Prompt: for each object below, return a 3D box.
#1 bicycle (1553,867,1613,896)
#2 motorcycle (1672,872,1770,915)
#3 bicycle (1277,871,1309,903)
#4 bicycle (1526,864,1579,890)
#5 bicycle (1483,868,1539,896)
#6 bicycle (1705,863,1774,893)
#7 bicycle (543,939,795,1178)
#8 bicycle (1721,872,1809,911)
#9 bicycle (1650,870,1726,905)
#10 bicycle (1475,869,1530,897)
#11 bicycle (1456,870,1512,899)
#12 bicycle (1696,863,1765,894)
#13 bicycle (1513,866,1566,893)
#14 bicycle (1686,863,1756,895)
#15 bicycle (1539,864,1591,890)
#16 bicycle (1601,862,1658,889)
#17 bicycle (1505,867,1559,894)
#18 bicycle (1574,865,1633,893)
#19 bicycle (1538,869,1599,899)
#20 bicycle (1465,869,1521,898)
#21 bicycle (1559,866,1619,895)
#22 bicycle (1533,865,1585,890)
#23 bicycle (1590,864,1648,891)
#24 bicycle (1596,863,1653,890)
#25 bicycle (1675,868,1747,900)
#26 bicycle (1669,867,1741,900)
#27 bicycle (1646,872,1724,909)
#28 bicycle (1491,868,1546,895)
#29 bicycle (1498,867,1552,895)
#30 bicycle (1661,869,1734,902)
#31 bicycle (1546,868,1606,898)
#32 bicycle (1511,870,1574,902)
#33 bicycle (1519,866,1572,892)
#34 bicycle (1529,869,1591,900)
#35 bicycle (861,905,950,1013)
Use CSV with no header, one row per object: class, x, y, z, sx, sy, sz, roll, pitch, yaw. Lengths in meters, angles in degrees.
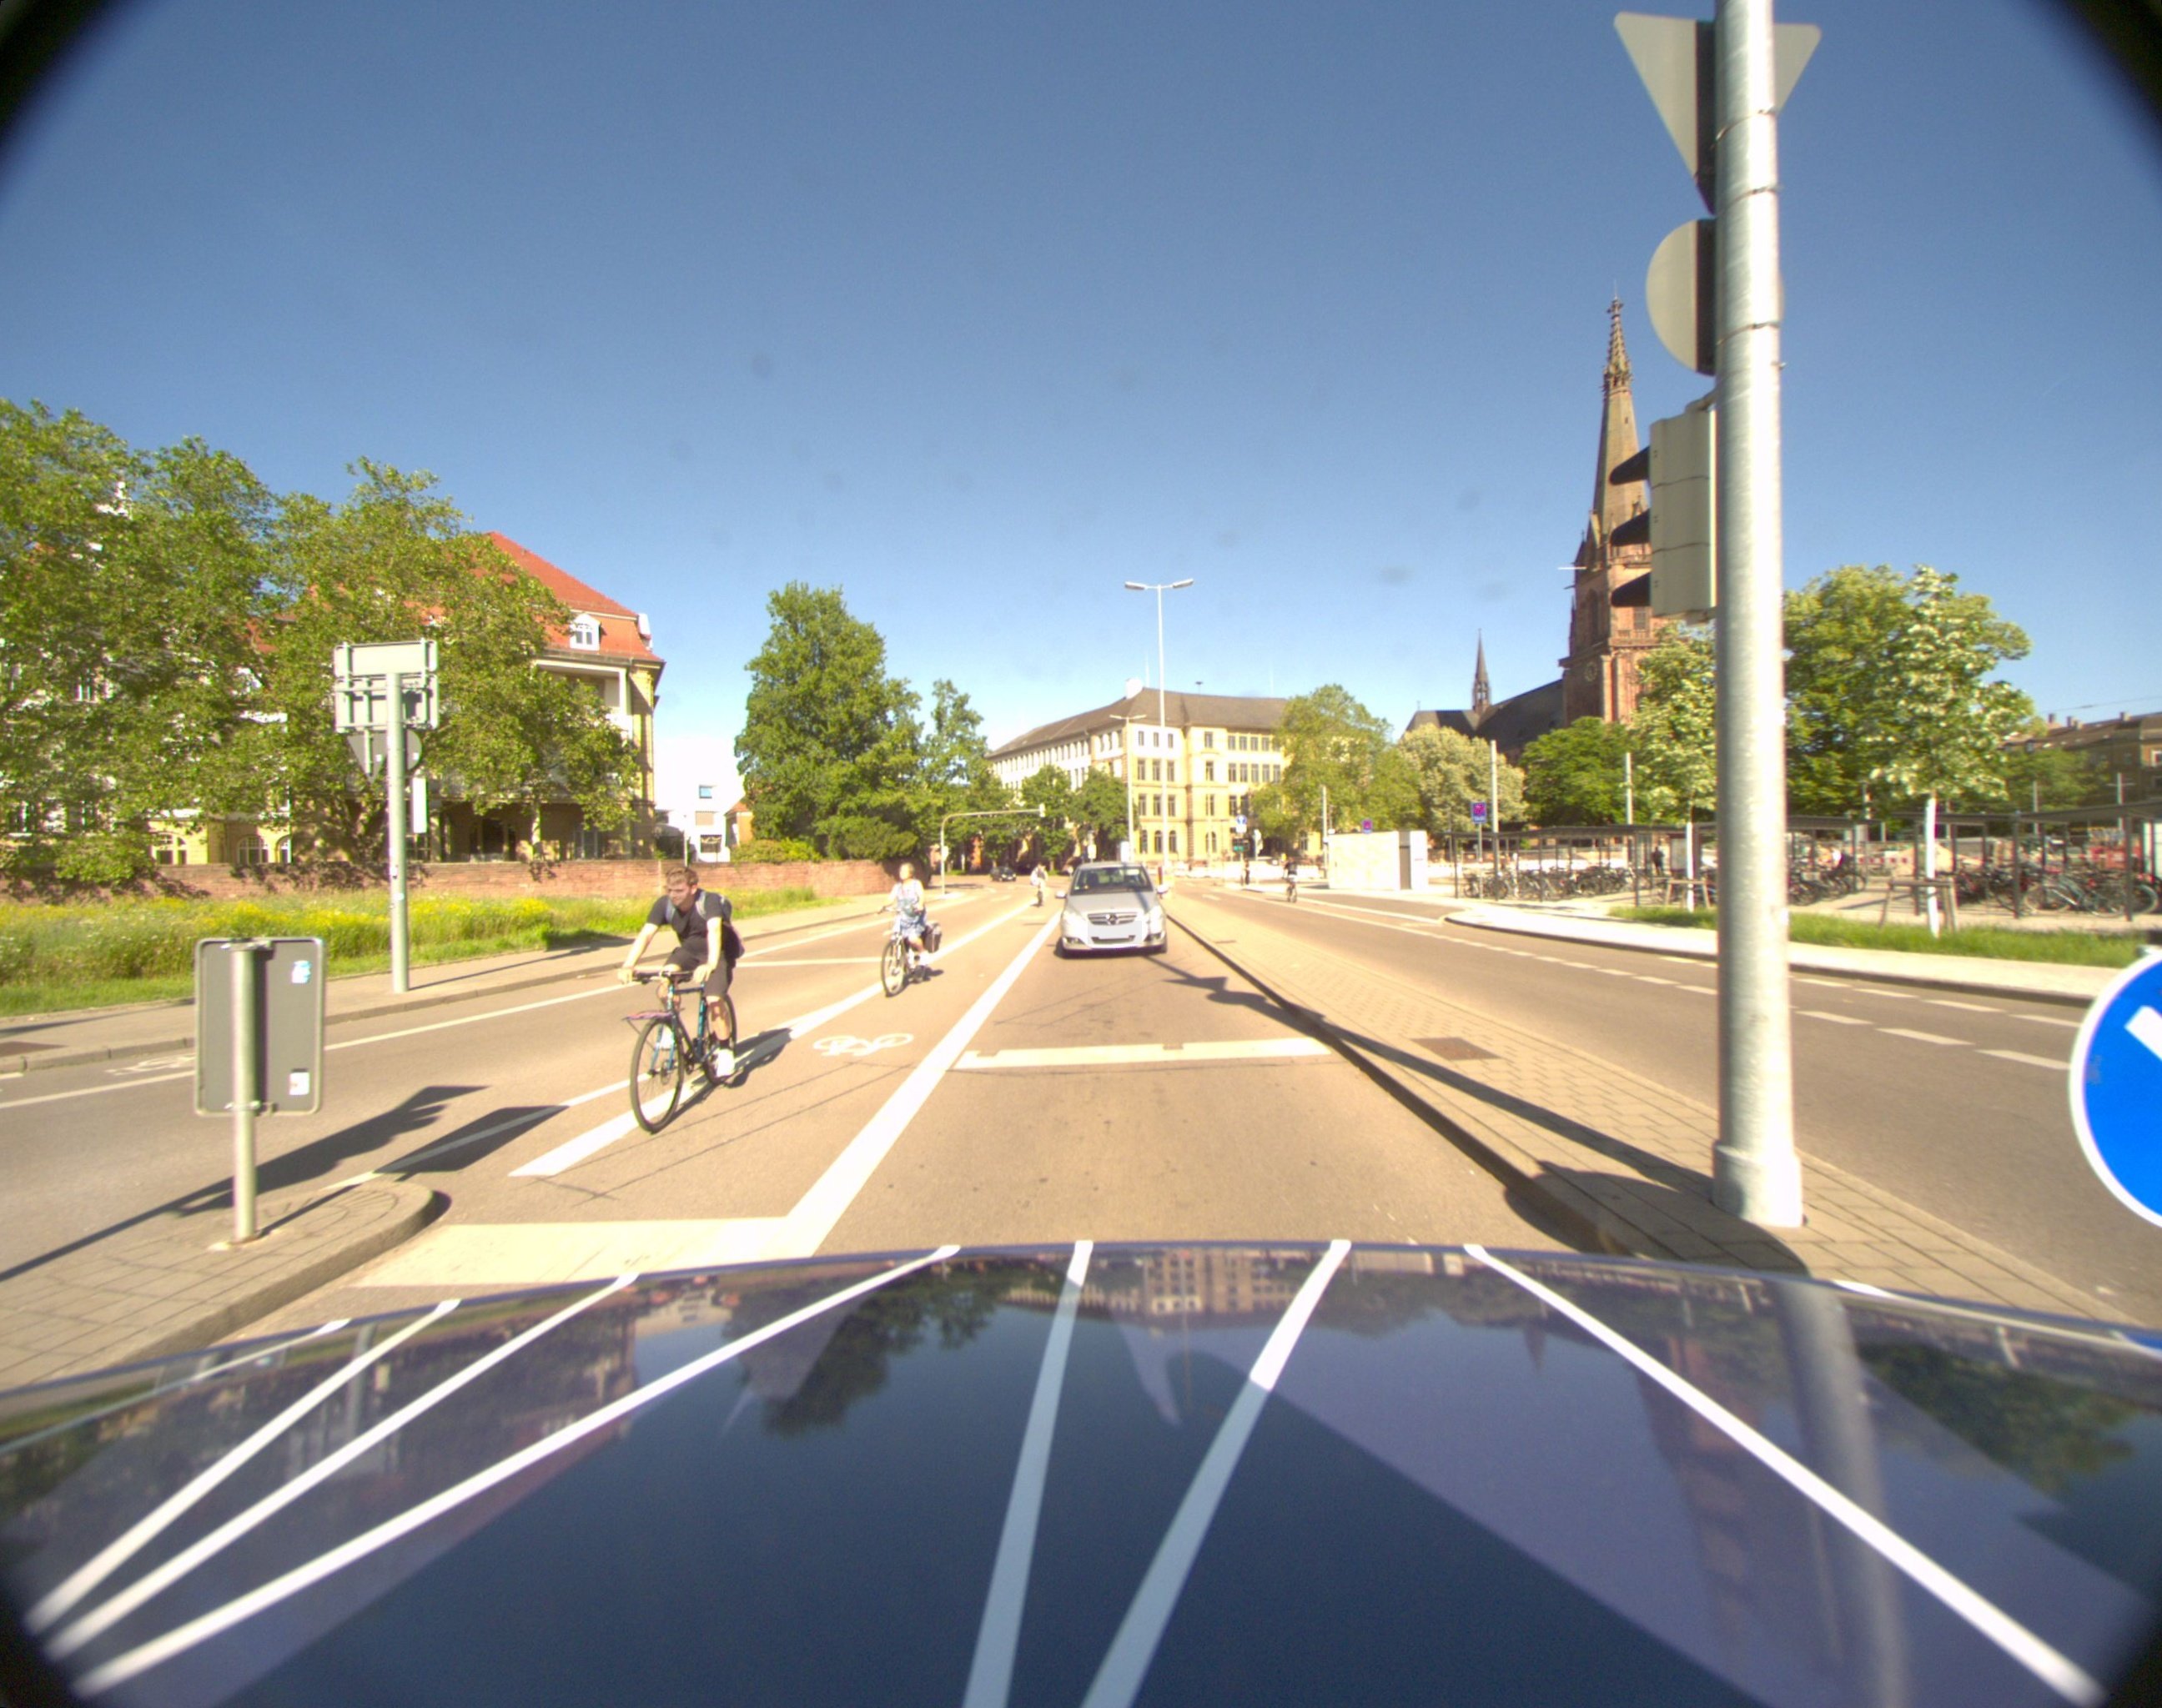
bicycle,18.611,0.992,28.219,0.569,1.032,1.783,0,0,-36
motorcycle,17.773,1.067,21.163,0.596,1.112,1.980,-2,0,-32
bicycle,8.022,1.243,28.861,0.747,1.158,1.870,0,0,2
bicycle,19.562,0.941,31.566,0.569,1.032,1.783,0,0,-36
bicycle,16.577,1.065,29.315,0.569,1.032,1.783,0,0,-36
bicycle,23.527,0.848,27.180,0.569,1.032,1.783,0,0,-36
bicycle,-2.704,1.272,5.273,0.642,1.158,1.871,-3,-1,1
bicycle,19.460,1.037,21.642,0.569,1.032,1.783,0,0,-36
bicycle,19.165,1.032,24.023,0.569,1.032,1.783,0,0,-36
bicycle,16.017,1.085,28.911,0.569,1.032,1.783,0,0,-36
bicycle,14.876,1.116,28.080,0.569,1.032,1.783,0,0,-36
bicycle,22.893,0.857,26.809,0.569,1.032,1.783,0,0,-36
bicycle,18.595,1.027,30.854,0.569,1.032,1.783,0,0,-36
bicycle,22.155,0.851,26.333,0.569,1.032,1.783,0,0,-36
bicycle,20.540,0.954,32.261,0.569,1.032,1.783,0,0,-36
bicycle,22.221,0.848,30.807,0.569,1.032,1.783,0,0,-36
bicycle,18.063,1.044,30.450,0.569,1.032,1.783,0,0,-36
bicycle,20.122,0.952,29.284,0.569,1.032,1.783,0,0,-36
bicycle,17.622,1.077,27.506,0.569,1.032,1.783,0,0,-36
bicycle,15.407,1.099,28.462,0.569,1.032,1.783,0,0,-36
bicycle,19.099,0.975,28.574,0.569,1.032,1.783,0,0,-36
bicycle,20.053,0.971,31.904,0.569,1.032,1.783,0,0,-36
bicycle,21.231,0.915,30.027,0.569,1.032,1.783,0,0,-36
bicycle,21.735,0.879,30.403,0.569,1.032,1.783,0,0,-36
bicycle,21.210,0.991,25.601,0.569,1.032,1.783,0,0,-36
bicycle,20.705,0.971,25.244,0.569,1.032,1.783,0,0,-36
bicycle,18.364,1.091,23.134,0.569,1.032,1.783,0,0,-36
bicycle,17.081,1.057,29.700,0.569,1.032,1.783,0,0,-36
bicycle,17.565,1.060,30.083,0.569,1.032,1.783,0,0,-36
bicycle,20.148,1.017,24.860,0.569,1.032,1.783,0,0,-36
bicycle,18.121,1.042,27.846,0.569,1.032,1.783,0,0,-36
bicycle,16.039,1.099,26.434,0.569,1.032,1.783,0,0,-36
bicycle,19.073,1.008,31.212,0.569,1.032,1.783,0,0,-36
bicycle,17.106,1.068,27.172,0.569,1.032,1.783,0,0,-36
bicycle,-2.286,1.334,10.138,0.642,1.158,1.968,-2,0,1
